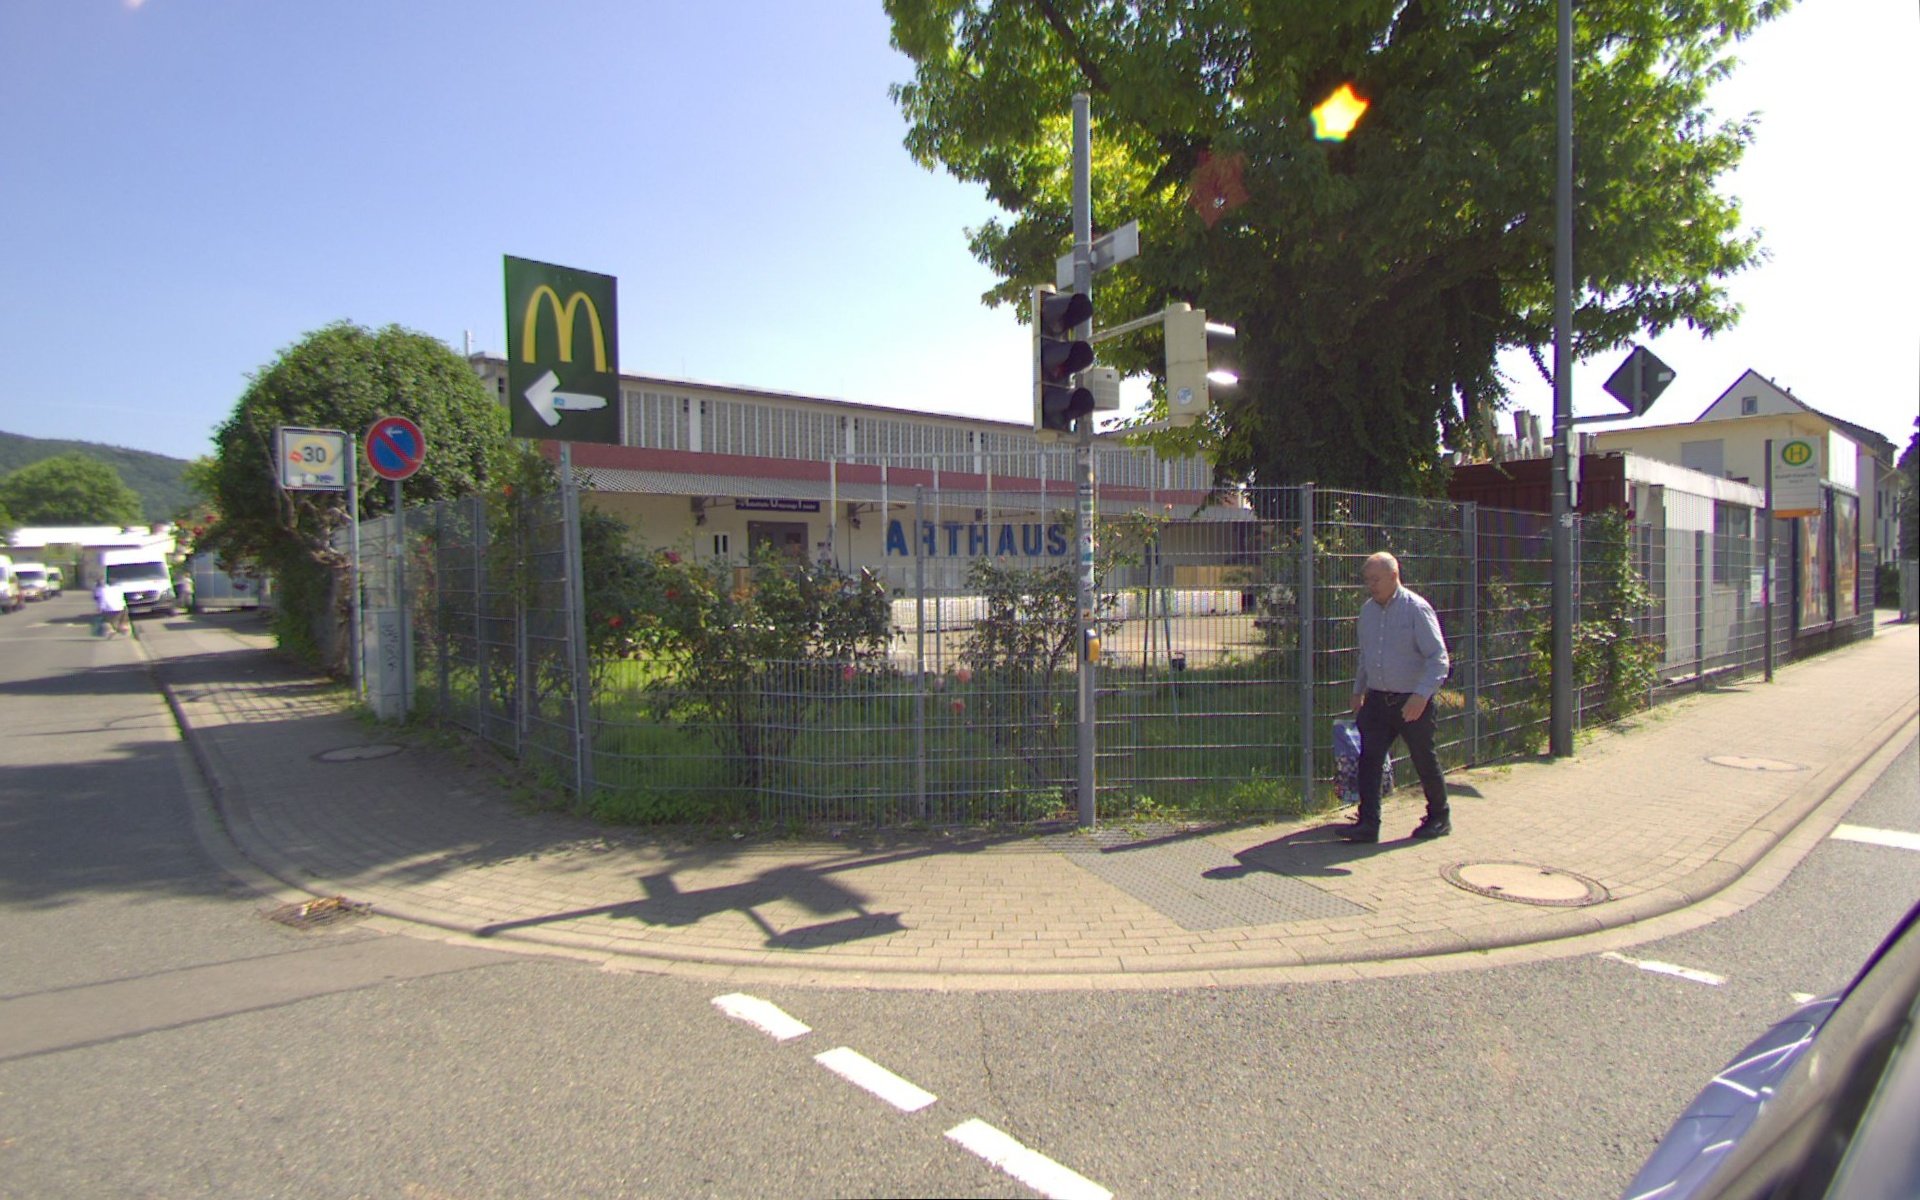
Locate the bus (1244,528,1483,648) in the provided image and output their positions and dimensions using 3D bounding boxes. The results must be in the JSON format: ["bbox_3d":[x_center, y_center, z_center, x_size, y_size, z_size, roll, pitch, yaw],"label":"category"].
[{"bbox_3d":[12.848,-0.568,31.527,10.093,3.210,2.570,-4,3,-41],"label":"bus"}]

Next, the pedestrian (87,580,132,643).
[{"bbox_3d":[-22.213,0.291,26.437,0.868,1.599,0.789,-1,0,-40],"label":"pedestrian"}]

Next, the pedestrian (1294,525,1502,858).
[{"bbox_3d":[2.520,0.458,5.828,0.872,1.720,0.813,-1,1,-43],"label":"pedestrian"}]

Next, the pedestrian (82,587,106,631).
[{"bbox_3d":[-34.568,0.359,40.401,0.697,1.709,0.652,0,0,-41],"label":"pedestrian"}]

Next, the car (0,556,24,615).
[{"bbox_3d":[-44.116,-0.647,45.741,2.072,2.558,5.604,-1,1,-37],"label":"car"}]

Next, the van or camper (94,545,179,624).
[{"bbox_3d":[-30.904,-0.565,37.951,2.305,2.713,6.733,-1,1,-40],"label":"van or camper"}]
